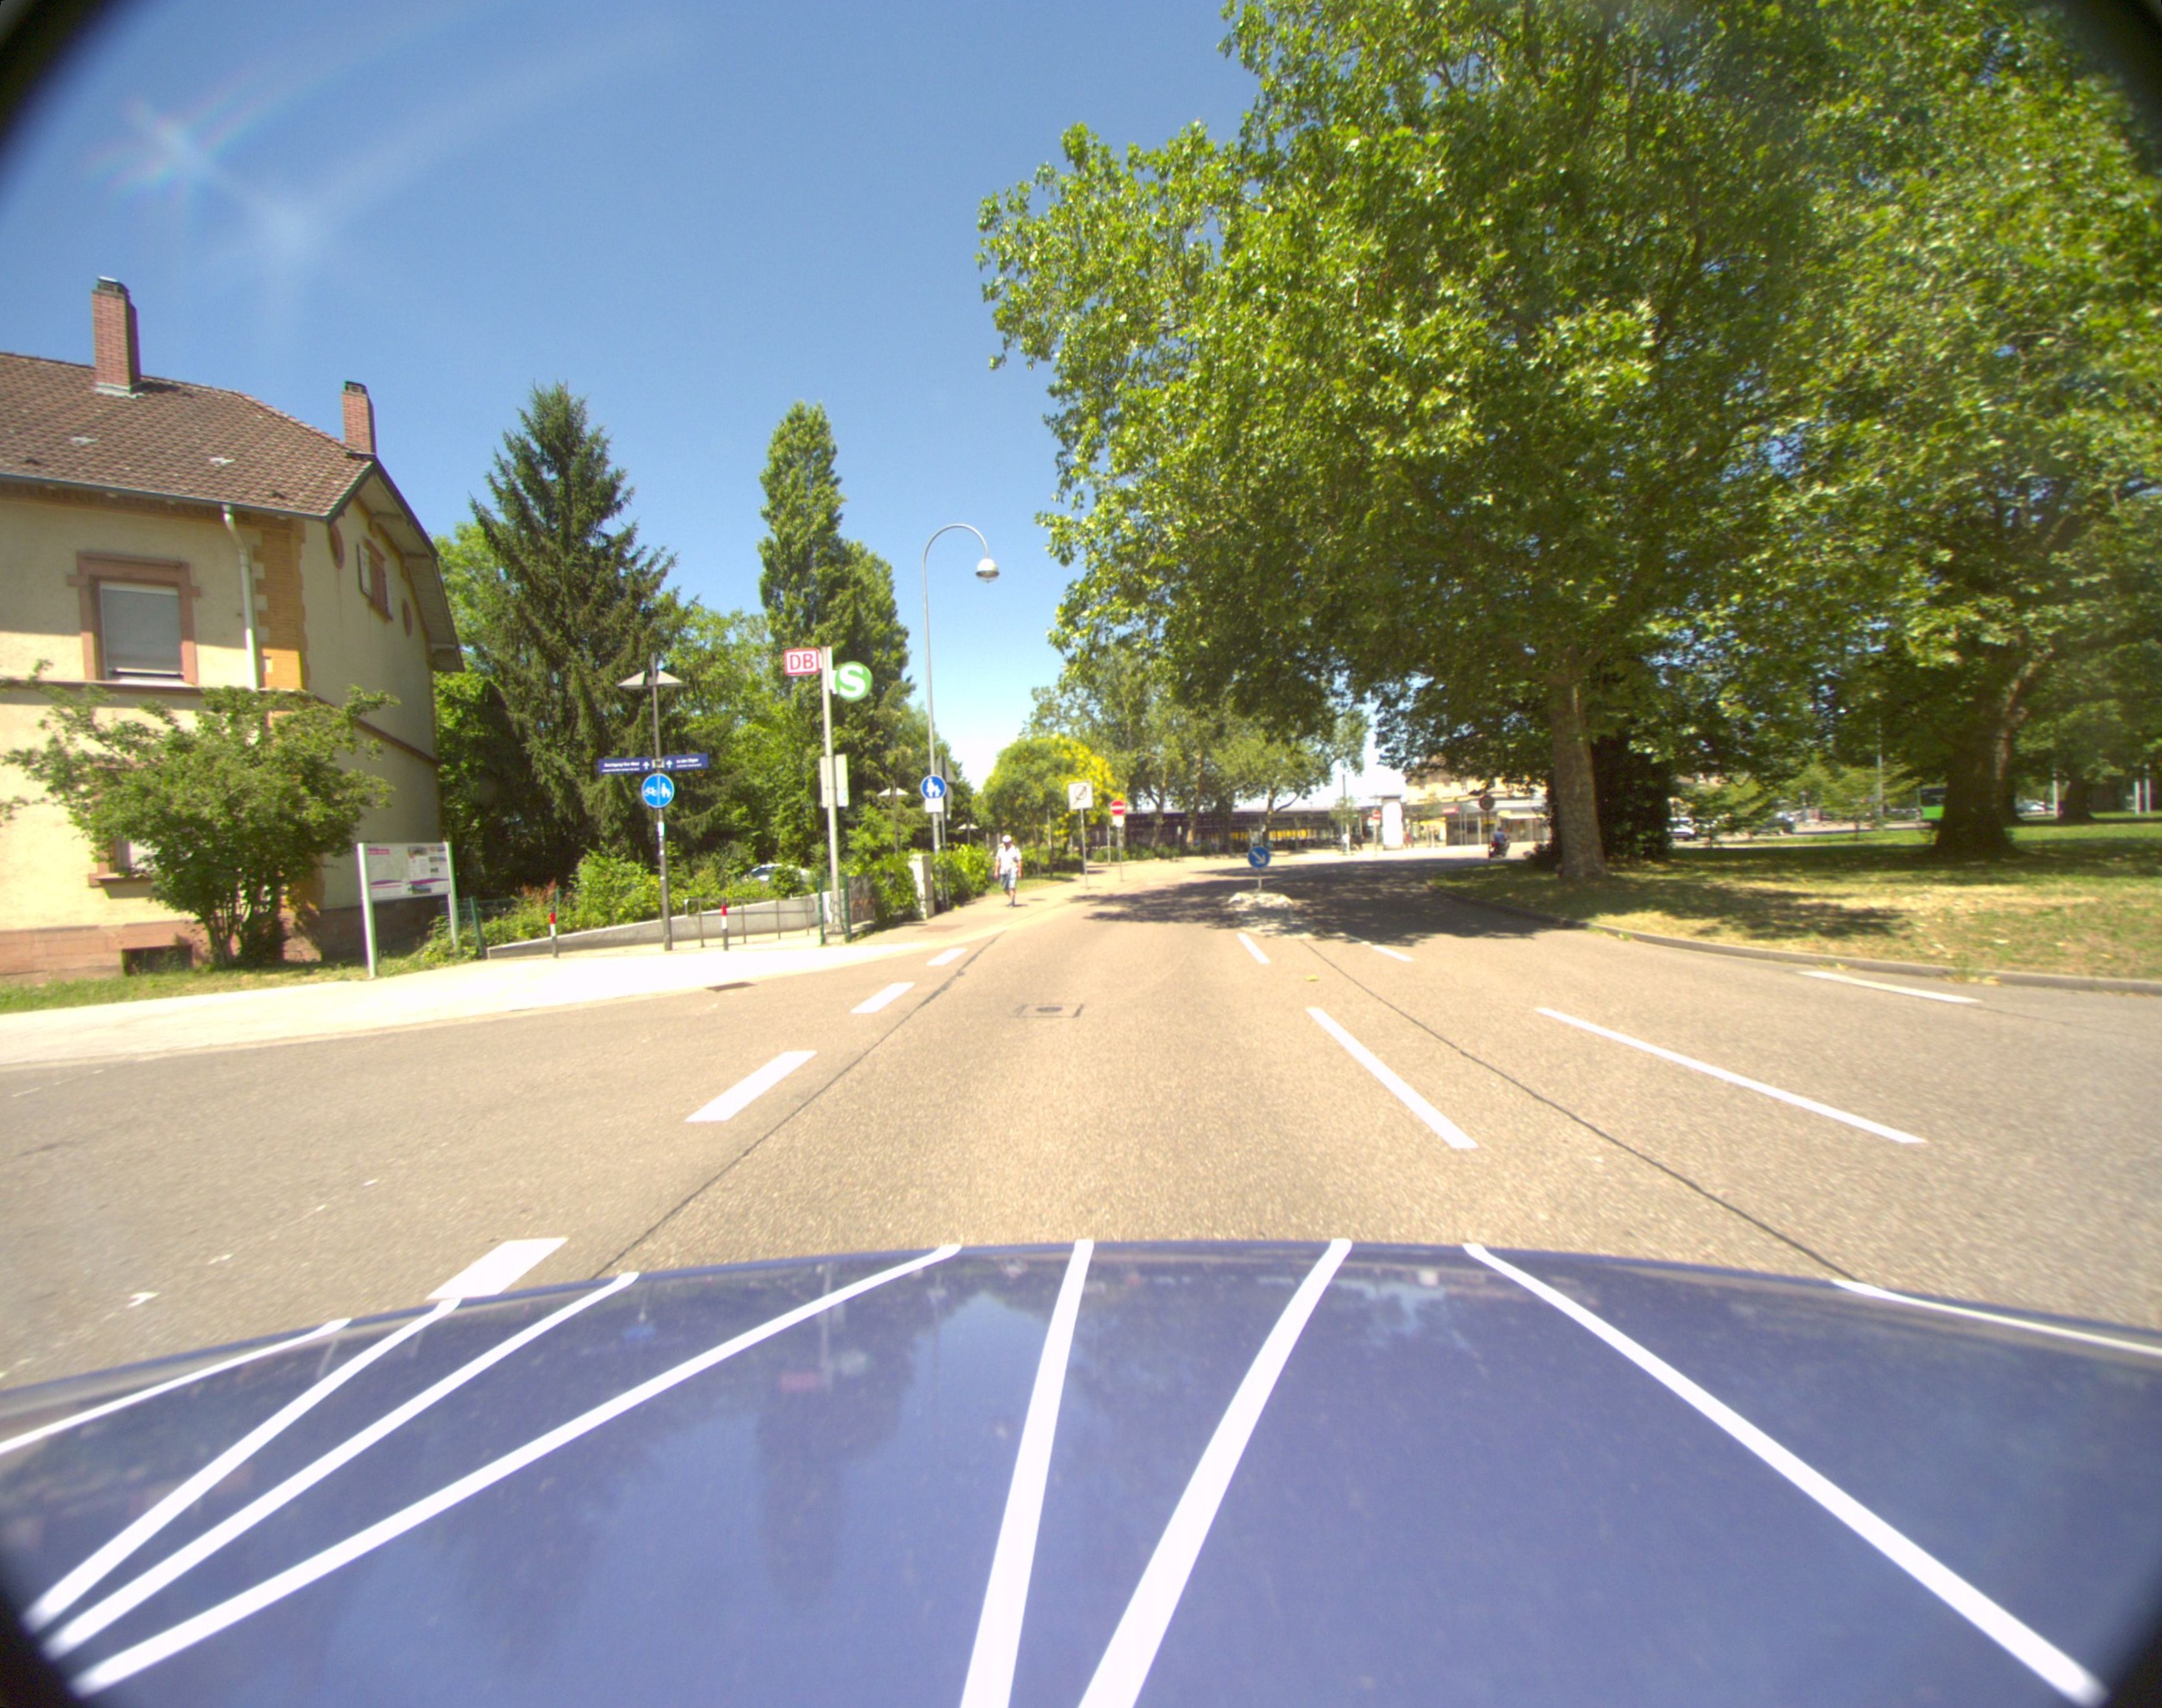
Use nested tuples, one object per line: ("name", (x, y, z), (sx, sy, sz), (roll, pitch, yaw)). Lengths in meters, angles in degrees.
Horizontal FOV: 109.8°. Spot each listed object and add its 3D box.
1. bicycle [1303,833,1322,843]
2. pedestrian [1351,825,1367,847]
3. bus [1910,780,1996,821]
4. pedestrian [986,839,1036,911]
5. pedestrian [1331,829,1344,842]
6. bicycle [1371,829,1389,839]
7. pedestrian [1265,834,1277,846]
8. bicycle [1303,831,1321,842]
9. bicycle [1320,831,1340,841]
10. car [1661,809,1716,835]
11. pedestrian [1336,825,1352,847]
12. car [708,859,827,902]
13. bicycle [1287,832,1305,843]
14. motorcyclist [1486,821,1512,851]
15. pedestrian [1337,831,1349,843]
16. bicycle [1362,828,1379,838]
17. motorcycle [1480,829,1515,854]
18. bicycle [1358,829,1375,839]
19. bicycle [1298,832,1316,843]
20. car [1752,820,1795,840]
("bicycle", (26.342, -1.823, 86.560), (0.671, 1.068, 2.164), (-7, 5, -32))
("pedestrian", (22.779, -1.463, 62.291), (0.915, 1.775, 0.694), (-3, 1, -11))
("bus", (78.241, -4.821, 68.062), (11.873, 3.284, 2.810), (-3, 1, -30))
("pedestrian", (-1.747, 0.509, 19.141), (0.913, 1.762, 0.916), (0, 2, 21))
("pedestrian", (28.688, -2.043, 84.959), (0.832, 1.378, 0.961), (-3, 2, -28))
("bicycle", (36.408, -2.435, 92.635), (0.671, 1.068, 2.164), (-7, 5, -25))
("pedestrian", (20.034, -1.451, 80.036), (0.869, 1.267, 0.829), (-4, 2, -33))
("bicycle", (27.659, -2.065, 90.947), (2.171, 1.068, 0.669), (-7, 5, -26))
("bicycle", (30.812, -2.226, 94.018), (2.163, 1.068, 0.865), (-1, 6, 43))
("car", (42.097, -2.215, 52.641), (4.331, 1.737, 2.043), (-2, 2, -38))
("pedestrian", (21.548, -1.445, 62.246), (0.915, 1.726, 0.675), (-3, 1, -9))
("car", (-13.463, 1.108, 32.694), (4.506, 1.491, 1.766), (-3, 1, -29))
("bicycle", (26.446, -2.011, 93.289), (2.171, 1.068, 0.669), (-7, 5, -26))
("motorcyclist", (22.417, -0.953, 40.764), (1.106, 1.546, 0.808), (-4, 2, -35))
("pedestrian", (29.455, -1.894, 85.454), (0.832, 1.297, 0.961), (-3, 2, -28))
("bicycle", (36.500, -2.599, 95.915), (2.171, 1.068, 0.669), (-7, 5, -26))
("motorcycle", (22.305, -0.667, 40.687), (2.054, 1.224, 0.808), (-4, 2, -36))
("bicycle", (36.260, -2.574, 96.594), (2.171, 1.068, 0.669), (-7, 5, -26))
("bicycle", (27.265, -2.003, 91.812), (2.171, 1.068, 0.669), (-7, 5, -26))
("car", (53.841, -1.883, 59.038), (4.007, 1.409, 1.641), (-2, 2, -35))
